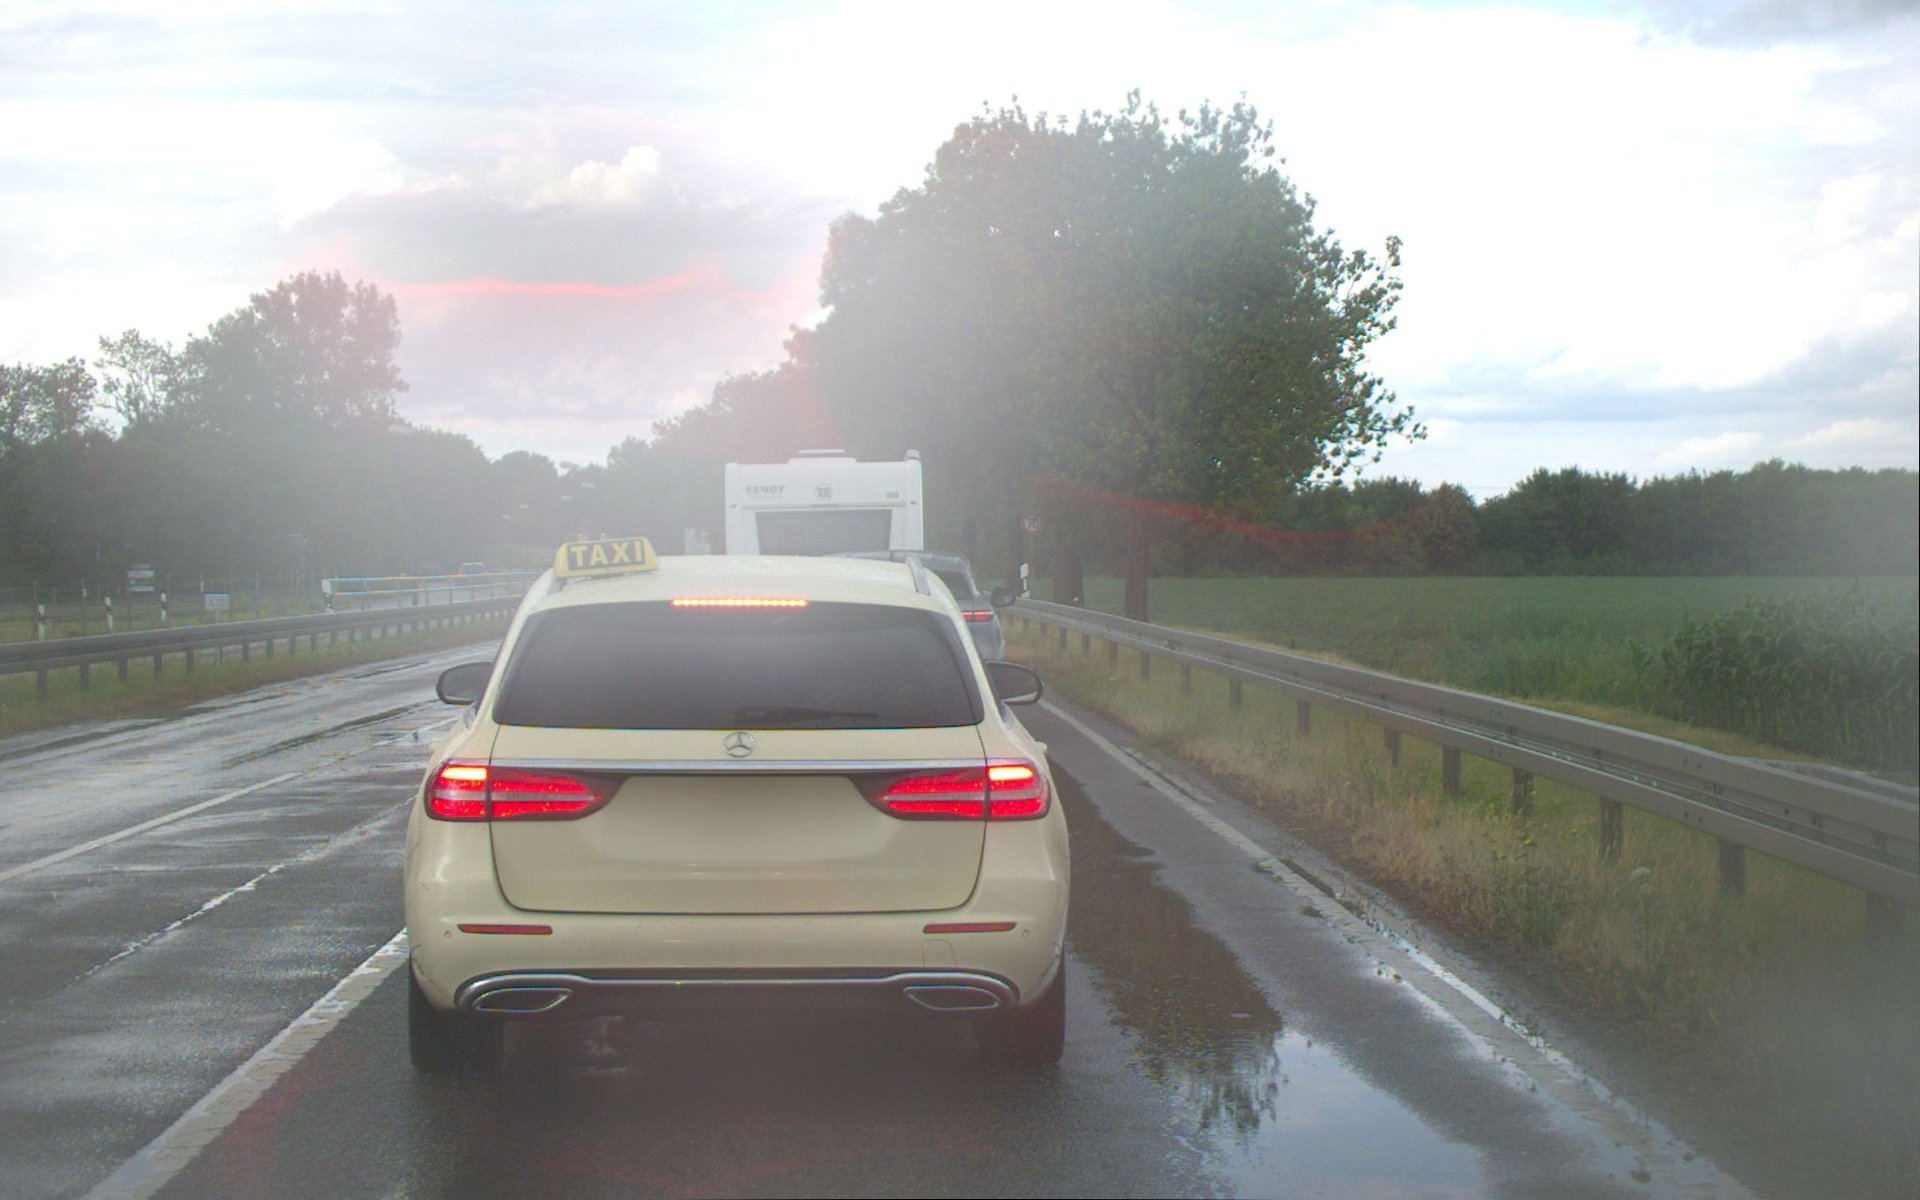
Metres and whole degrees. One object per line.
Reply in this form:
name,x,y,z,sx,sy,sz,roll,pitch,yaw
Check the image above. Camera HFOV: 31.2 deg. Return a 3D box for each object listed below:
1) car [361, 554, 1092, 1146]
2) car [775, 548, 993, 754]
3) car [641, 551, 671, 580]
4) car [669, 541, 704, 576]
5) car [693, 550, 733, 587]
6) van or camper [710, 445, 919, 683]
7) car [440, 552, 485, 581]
car,-0.594,0.599,10.665,1.825,1.480,4.145,0,1,0
car,-0.620,0.352,27.789,1.627,1.524,3.933,0,1,-1
car,-21.150,-2.390,239.228,1.993,2.007,4.001,0,1,-7
car,-16.205,-2.456,203.879,1.993,2.007,4.001,0,1,-4
car,-13.731,-1.747,191.289,1.993,2.044,4.000,0,1,-1
van or camper,-1.713,-0.464,41.666,2.350,2.671,5.769,0,1,-1
car,-28.091,-1.888,194.298,1.993,1.645,4.000,0,1,0
